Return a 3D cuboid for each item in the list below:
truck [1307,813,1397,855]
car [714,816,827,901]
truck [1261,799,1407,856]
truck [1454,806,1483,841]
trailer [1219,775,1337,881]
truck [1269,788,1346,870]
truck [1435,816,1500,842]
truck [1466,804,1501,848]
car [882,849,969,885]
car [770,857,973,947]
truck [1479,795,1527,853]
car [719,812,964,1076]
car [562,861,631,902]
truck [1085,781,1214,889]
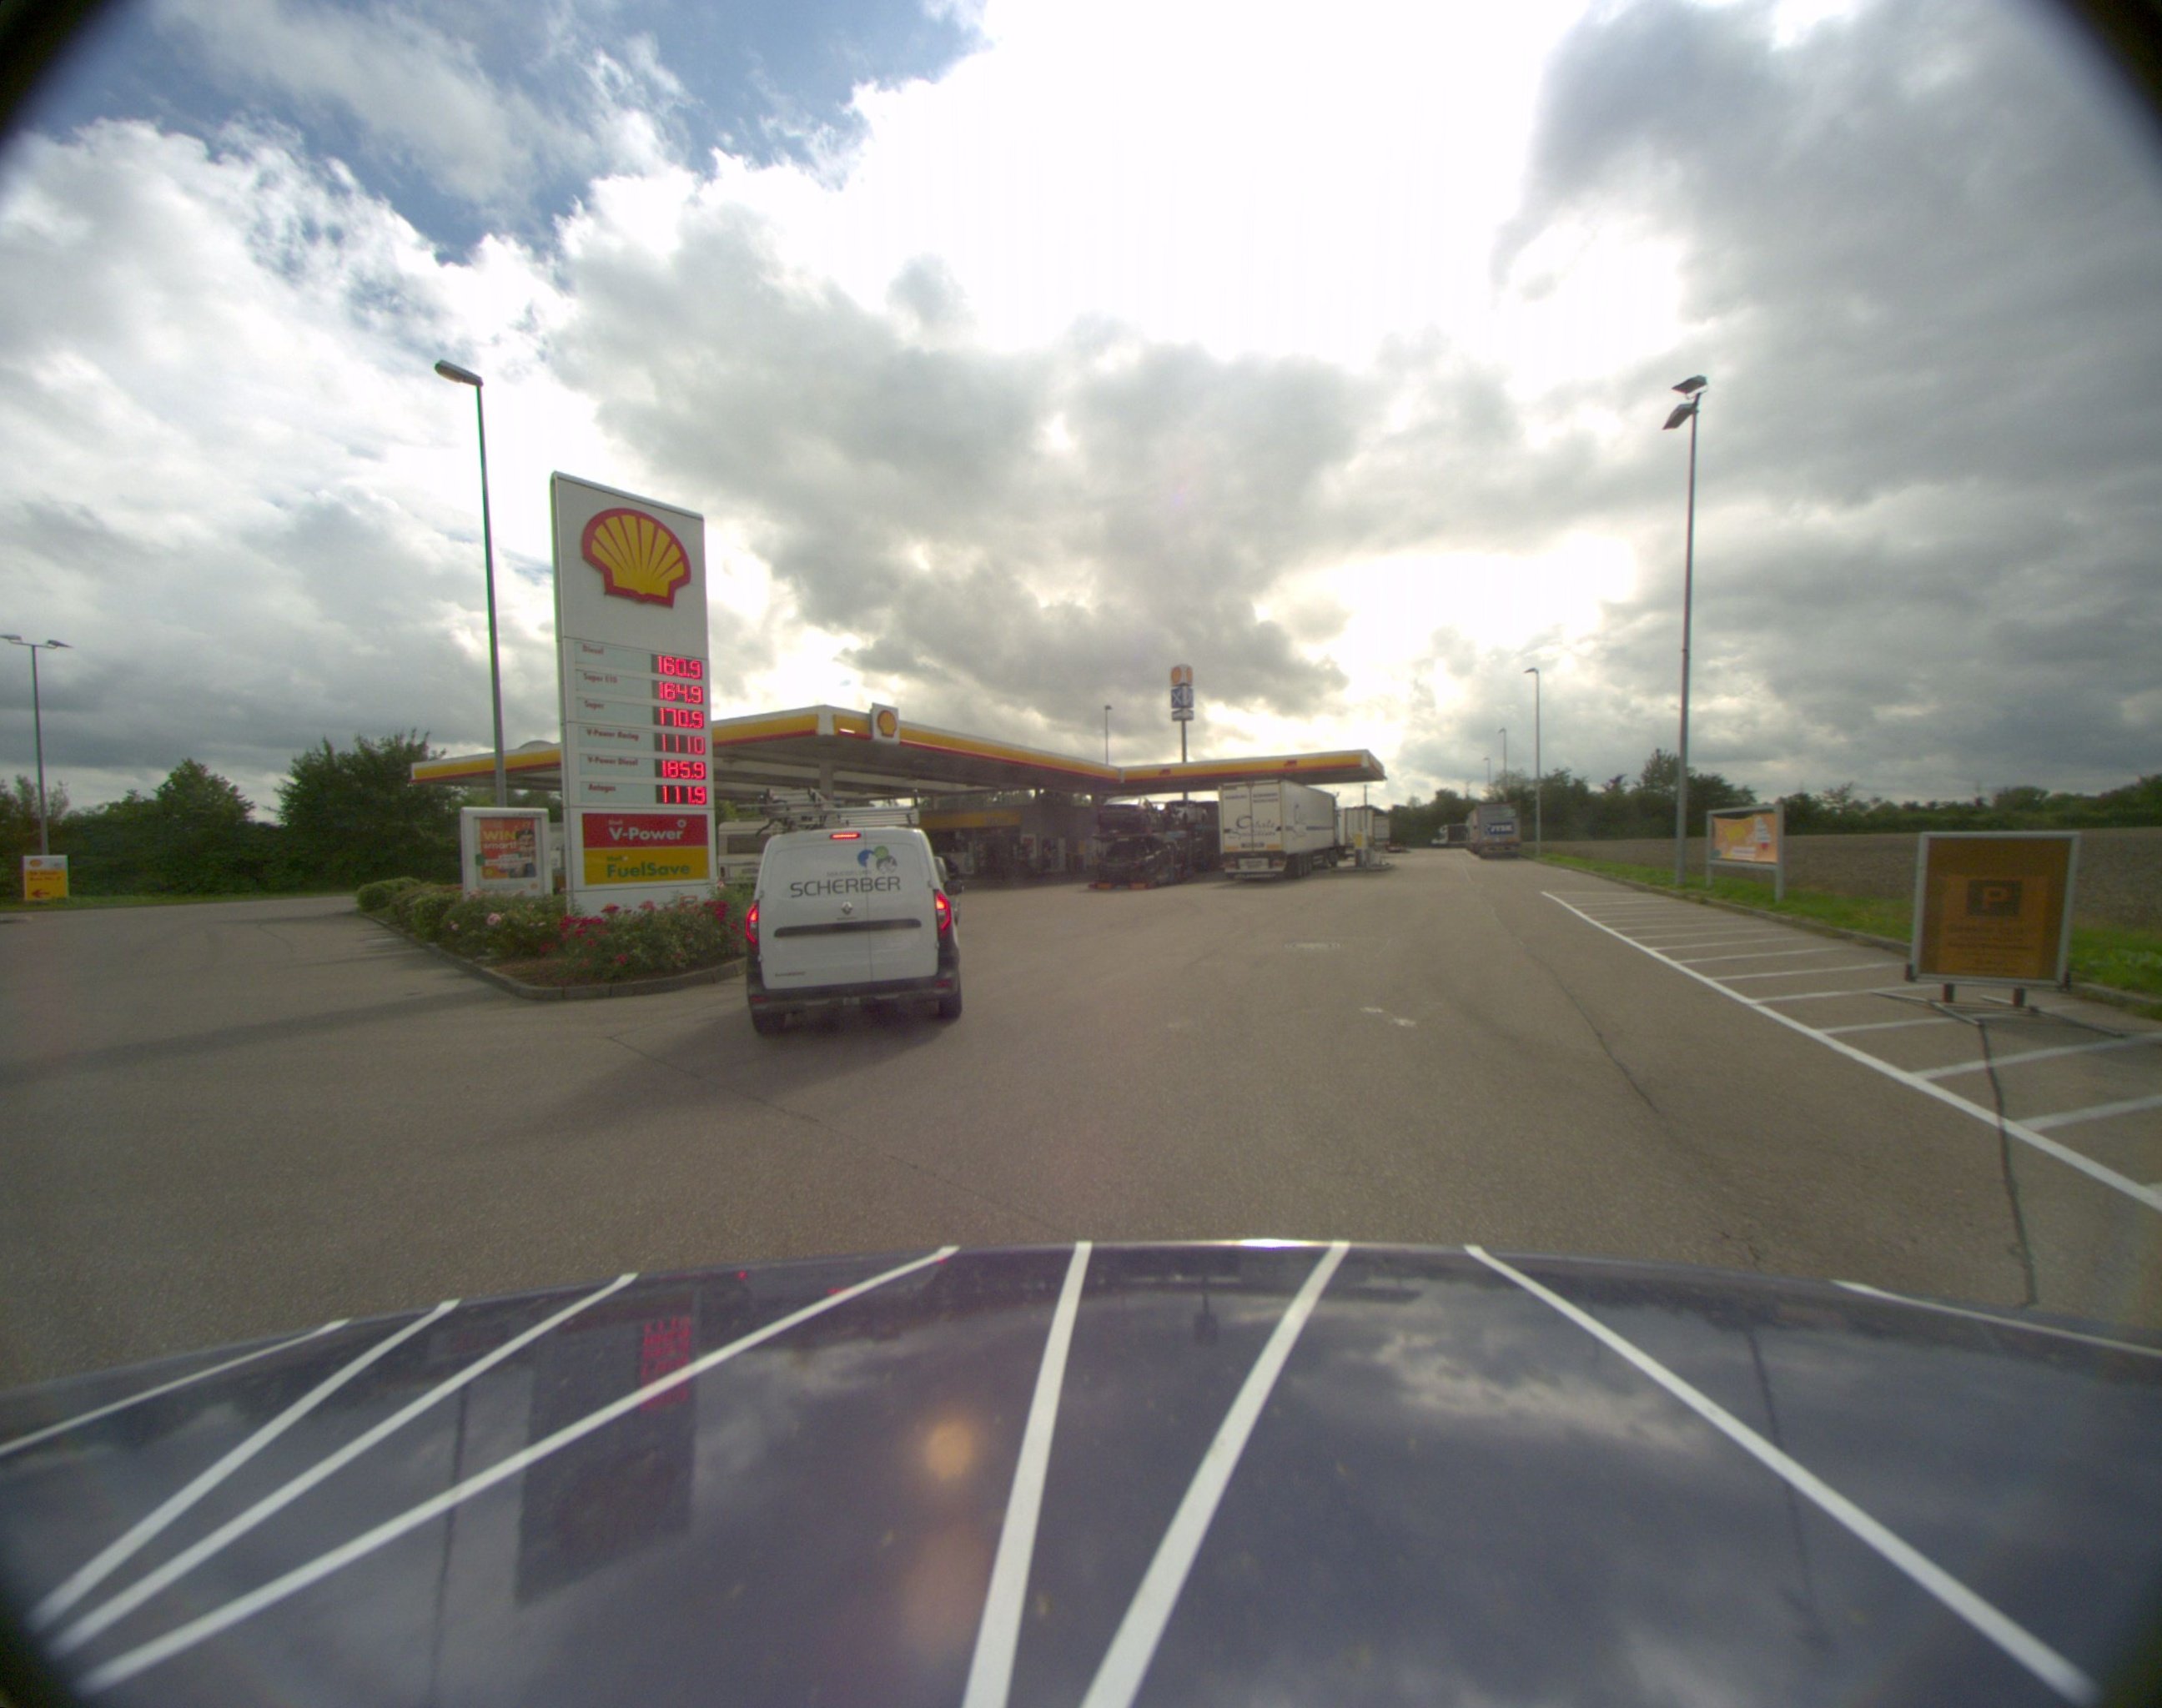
[{"bbox_3d":[28.661,-2.058,81.170,2.996,4.087,11.558,-3,1,-15],"label":"truck"},{"bbox_3d":[-11.378,0.116,28.396,2.224,2.771,5.805,-2,1,-6],"label":"car"},{"bbox_3d":[20.036,-2.071,62.070,2.966,4.089,14.722,-2,1,-19],"label":"truck"},{"bbox_3d":[46.902,-3.630,91.757,2.816,3.871,12.831,0,2,29],"label":"truck"},{"bbox_3d":[9.593,-1.127,35.382,2.706,4.002,12.868,-2,1,26],"label":"trailer"},{"bbox_3d":[12.364,-1.296,41.048,2.706,4.002,7.180,-2,1,26],"label":"truck"},{"bbox_3d":[55.815,-3.592,109.854,8.035,3.635,2.830,0,2,39],"label":"truck"},{"bbox_3d":[40.053,-2.725,75.420,2.816,3.871,15.487,0,2,29],"label":"truck"},{"bbox_3d":[-7.523,0.613,36.847,3.753,1.592,1.719,-2,1,21],"label":"car"},{"bbox_3d":[-4.158,0.898,14.986,3.712,1.538,1.582,-2,1,27],"label":"car"},{"bbox_3d":[32.354,-2.224,58.424,2.816,3.871,15.487,0,2,29],"label":"truck"},{"bbox_3d":[-2.252,0.696,7.977,1.797,2.000,3.877,-2,0,-11],"label":"car"},{"bbox_3d":[-20.923,1.153,32.978,1.853,1.565,3.992,-2,1,-23],"label":"car"},{"bbox_3d":[3.585,-0.840,34.153,2.746,3.901,13.274,0,1,18],"label":"truck"}]
